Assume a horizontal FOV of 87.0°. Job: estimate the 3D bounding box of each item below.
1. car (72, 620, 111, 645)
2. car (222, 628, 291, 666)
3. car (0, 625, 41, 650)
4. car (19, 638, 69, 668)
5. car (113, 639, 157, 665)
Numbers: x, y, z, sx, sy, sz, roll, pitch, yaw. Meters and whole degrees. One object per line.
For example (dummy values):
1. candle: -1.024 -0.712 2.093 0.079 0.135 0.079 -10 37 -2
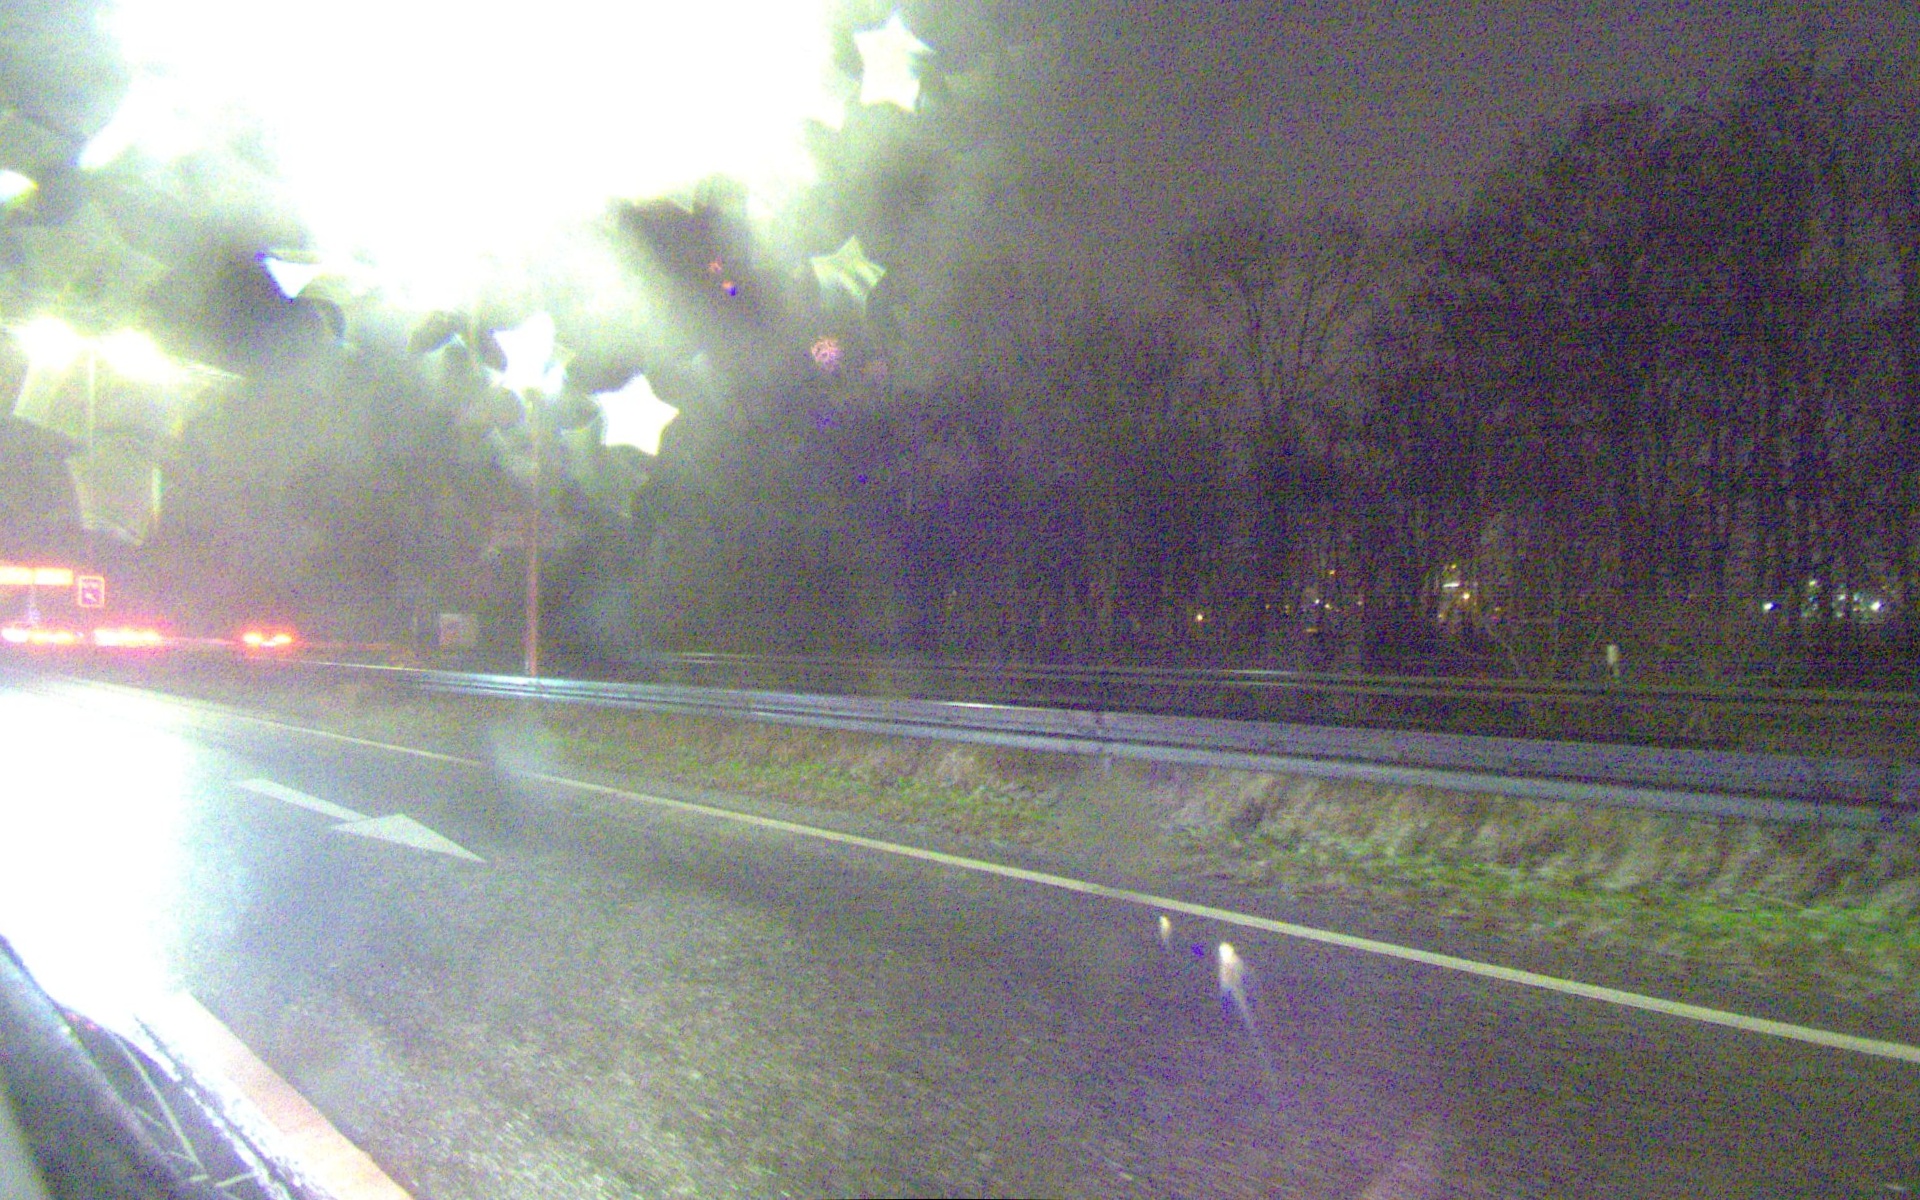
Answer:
1. car: -73.509 2.764 85.655 3.998 2.029 1.973 -2 -1 41
2. car: -32.897 2.167 47.303 4.000 1.660 1.842 -2 -1 43
3. car: -66.480 2.610 71.448 3.995 1.660 1.766 -2 -1 39
4. car: -55.204 3.156 60.979 3.997 1.660 1.765 -2 -1 40
5. car: -57.426 3.607 70.443 3.999 1.660 1.793 -2 -1 42
